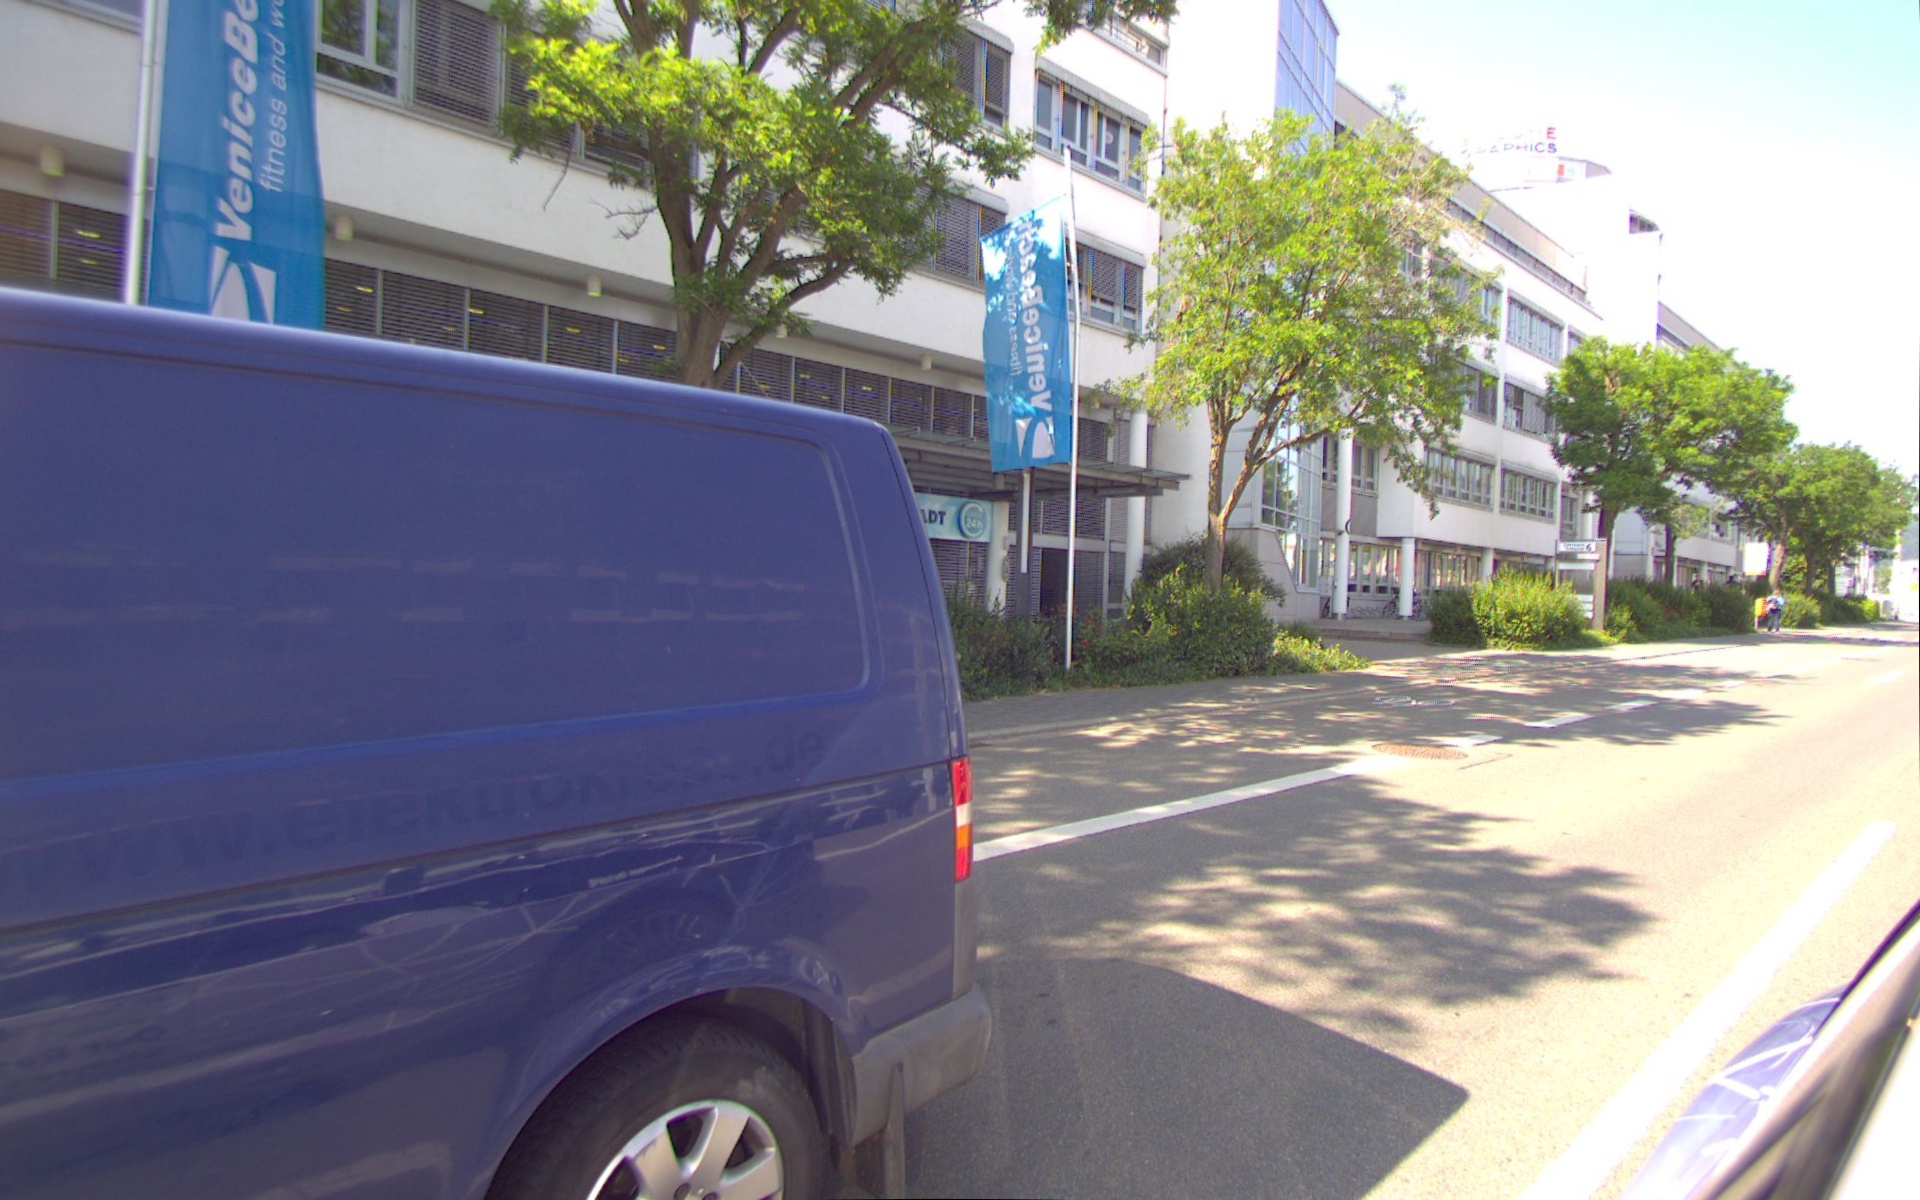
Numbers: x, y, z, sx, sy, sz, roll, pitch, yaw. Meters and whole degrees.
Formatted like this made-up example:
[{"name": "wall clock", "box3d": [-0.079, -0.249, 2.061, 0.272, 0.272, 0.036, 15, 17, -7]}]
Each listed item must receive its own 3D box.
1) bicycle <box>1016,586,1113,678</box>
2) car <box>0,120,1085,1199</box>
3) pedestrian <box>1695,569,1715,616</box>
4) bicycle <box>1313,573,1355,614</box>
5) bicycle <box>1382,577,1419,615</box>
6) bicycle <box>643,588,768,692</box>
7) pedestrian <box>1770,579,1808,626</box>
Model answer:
[{"name": "bicycle", "box3d": [1.657, 0.476, 15.791, 0.504, 1.346, 1.856, 2, 1, 41]}, {"name": "car", "box3d": [-2.166, 0.406, 1.600, 4.806, 1.972, 1.997, -1, 2, -41]}, {"name": "pedestrian", "box3d": [41.632, -0.427, 56.554, 0.704, 2.581, 0.716, 0, 1, -43]}, {"name": "bicycle", "box3d": [12.903, -0.217, 34.894, 1.852, 1.371, 0.506, 0, 1, -41]}, {"name": "bicycle", "box3d": [16.343, -0.148, 37.517, 1.852, 1.371, 0.506, 0, 1, -41]}, {"name": "bicycle", "box3d": [-3.633, 0.533, 14.380, 1.868, 1.346, 0.501, 2, 1, 30]}, {"name": "pedestrian", "box3d": [35.186, 0.114, 42.958, 1.267, 1.909, 0.942, 0, 4, -41]}]
